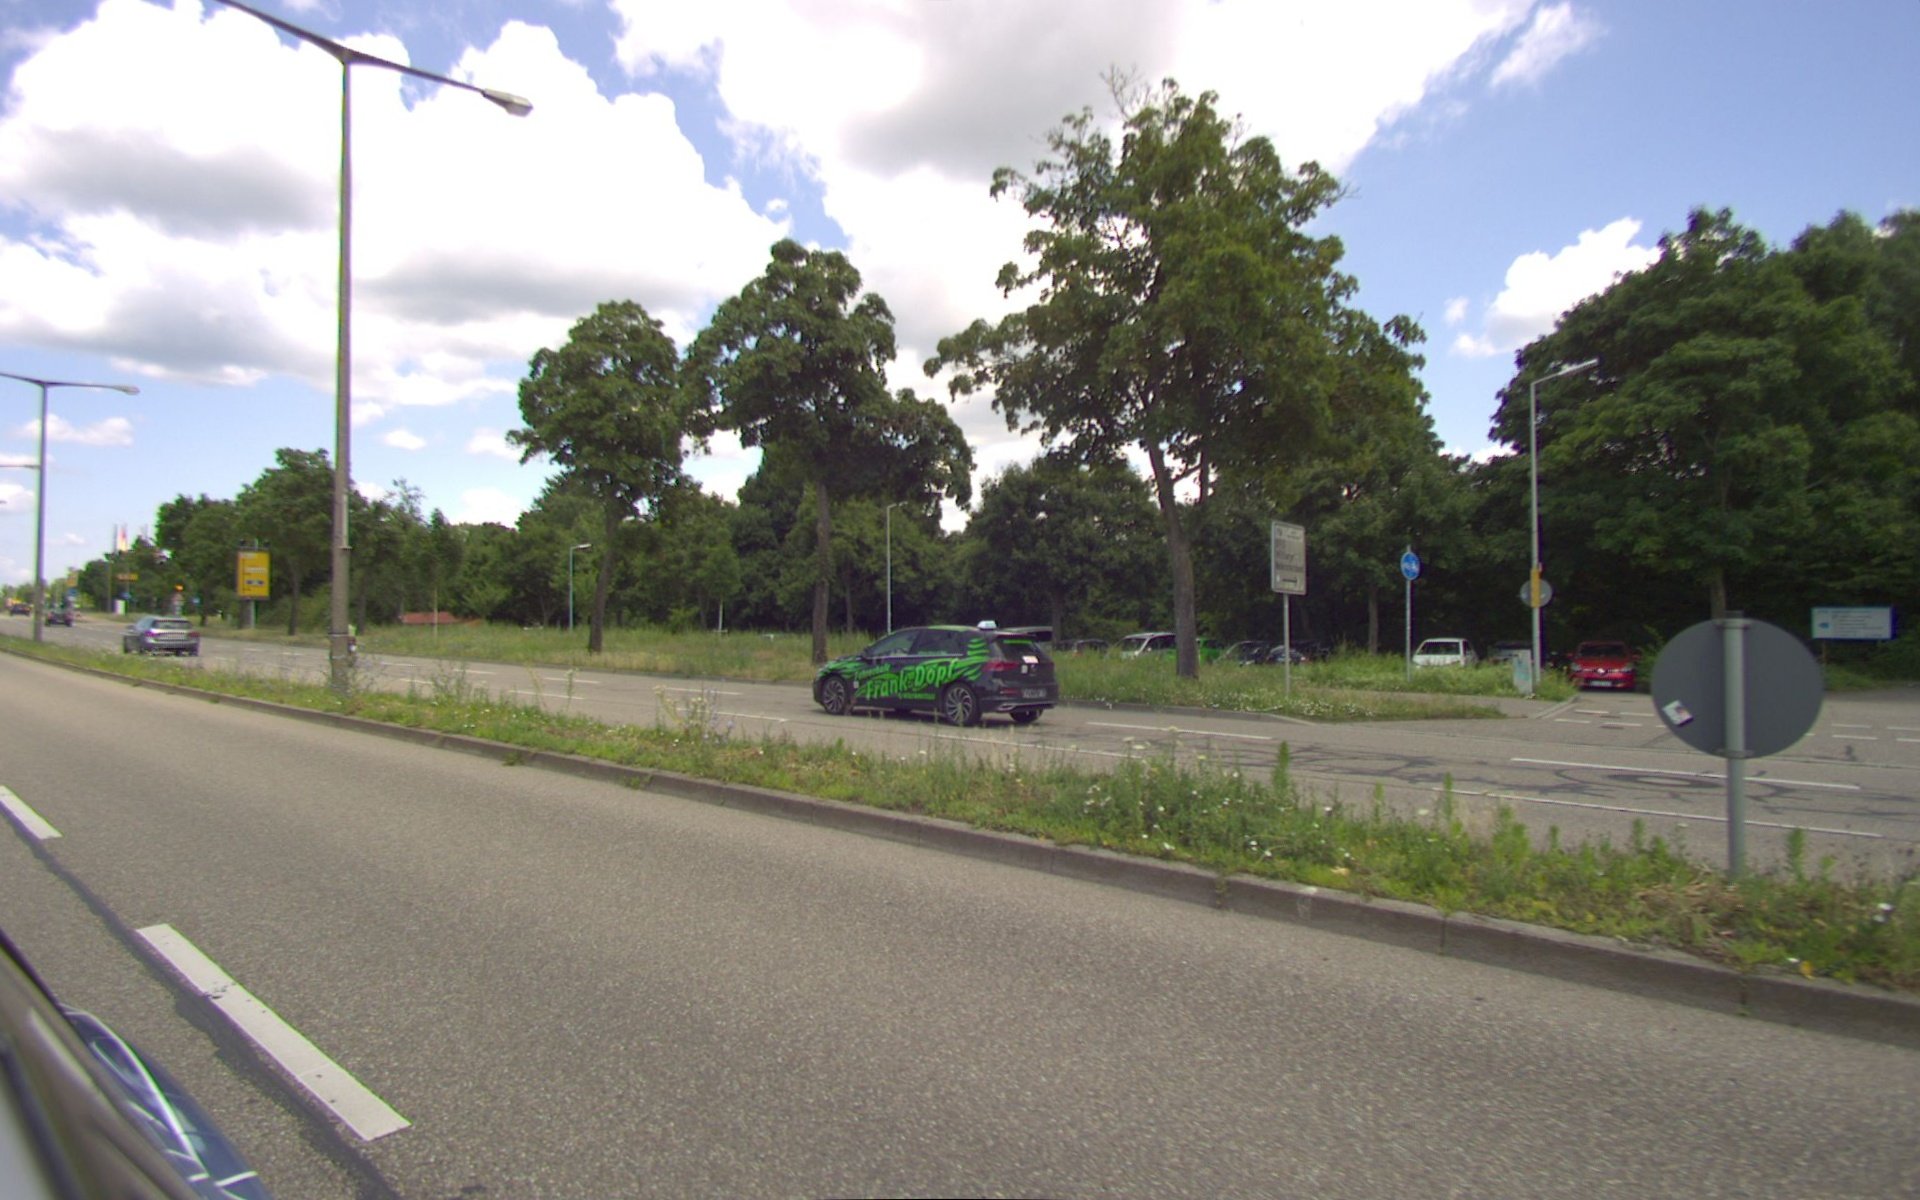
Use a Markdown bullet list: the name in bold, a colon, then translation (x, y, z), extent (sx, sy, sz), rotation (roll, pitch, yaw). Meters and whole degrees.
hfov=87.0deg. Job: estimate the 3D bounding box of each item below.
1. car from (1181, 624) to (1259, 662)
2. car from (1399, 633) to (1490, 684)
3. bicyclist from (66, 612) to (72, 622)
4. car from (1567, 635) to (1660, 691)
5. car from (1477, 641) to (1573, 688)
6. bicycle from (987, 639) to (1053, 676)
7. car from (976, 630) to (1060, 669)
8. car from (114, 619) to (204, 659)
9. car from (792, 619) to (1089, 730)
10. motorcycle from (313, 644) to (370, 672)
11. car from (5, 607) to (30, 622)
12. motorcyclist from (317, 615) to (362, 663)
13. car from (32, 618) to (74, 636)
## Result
- **car**: translation (11.827, 1.926, 45.880), extent (1.998, 1.530, 3.948), rotation (-2, -1, 39)
- **car**: translation (16.439, 1.925, 34.252), extent (1.785, 1.519, 3.744), rotation (-2, -1, 42)
- **bicyclist**: translation (-116.749, 2.272, 132.616), extent (1.106, 1.282, 0.515), rotation (-2, -1, 41)
- **car**: translation (20.122, 1.880, 31.104), extent (1.785, 1.519, 3.744), rotation (-2, -1, 42)
- **car**: translation (18.139, 2.035, 32.431), extent (1.786, 1.277, 3.743), rotation (-2, -1, 44)
- **bicycle**: translation (1.678, 1.589, 28.428), extent (1.916, 0.985, 0.561), rotation (-1, -2, 41)
- **car**: translation (2.751, 2.285, 47.284), extent (1.998, 1.638, 3.948), rotation (-2, -1, 39)
- **car**: translation (-30.023, 1.443, 37.880), extent (4.731, 1.409, 1.792), rotation (-2, -3, 41)
- **car**: translation (-0.400, 1.107, 15.548), extent (4.464, 1.470, 1.737), rotation (-2, -6, 39)
- **motorcycle**: translation (-19.081, 1.774, 31.194), extent (2.670, 0.778, 0.744), rotation (-2, -1, 41)
- **car**: translation (-122.555, 1.919, 131.592), extent (4.727, 1.804, 1.856), rotation (0, -3, 42)
- **motorcyclist**: translation (-19.149, 1.197, 31.241), extent (1.328, 1.425, 0.818), rotation (-2, -1, 41)
- **car**: translation (-75.674, 2.279, 84.407), extent (3.663, 1.438, 1.688), rotation (0, -1, 33)
